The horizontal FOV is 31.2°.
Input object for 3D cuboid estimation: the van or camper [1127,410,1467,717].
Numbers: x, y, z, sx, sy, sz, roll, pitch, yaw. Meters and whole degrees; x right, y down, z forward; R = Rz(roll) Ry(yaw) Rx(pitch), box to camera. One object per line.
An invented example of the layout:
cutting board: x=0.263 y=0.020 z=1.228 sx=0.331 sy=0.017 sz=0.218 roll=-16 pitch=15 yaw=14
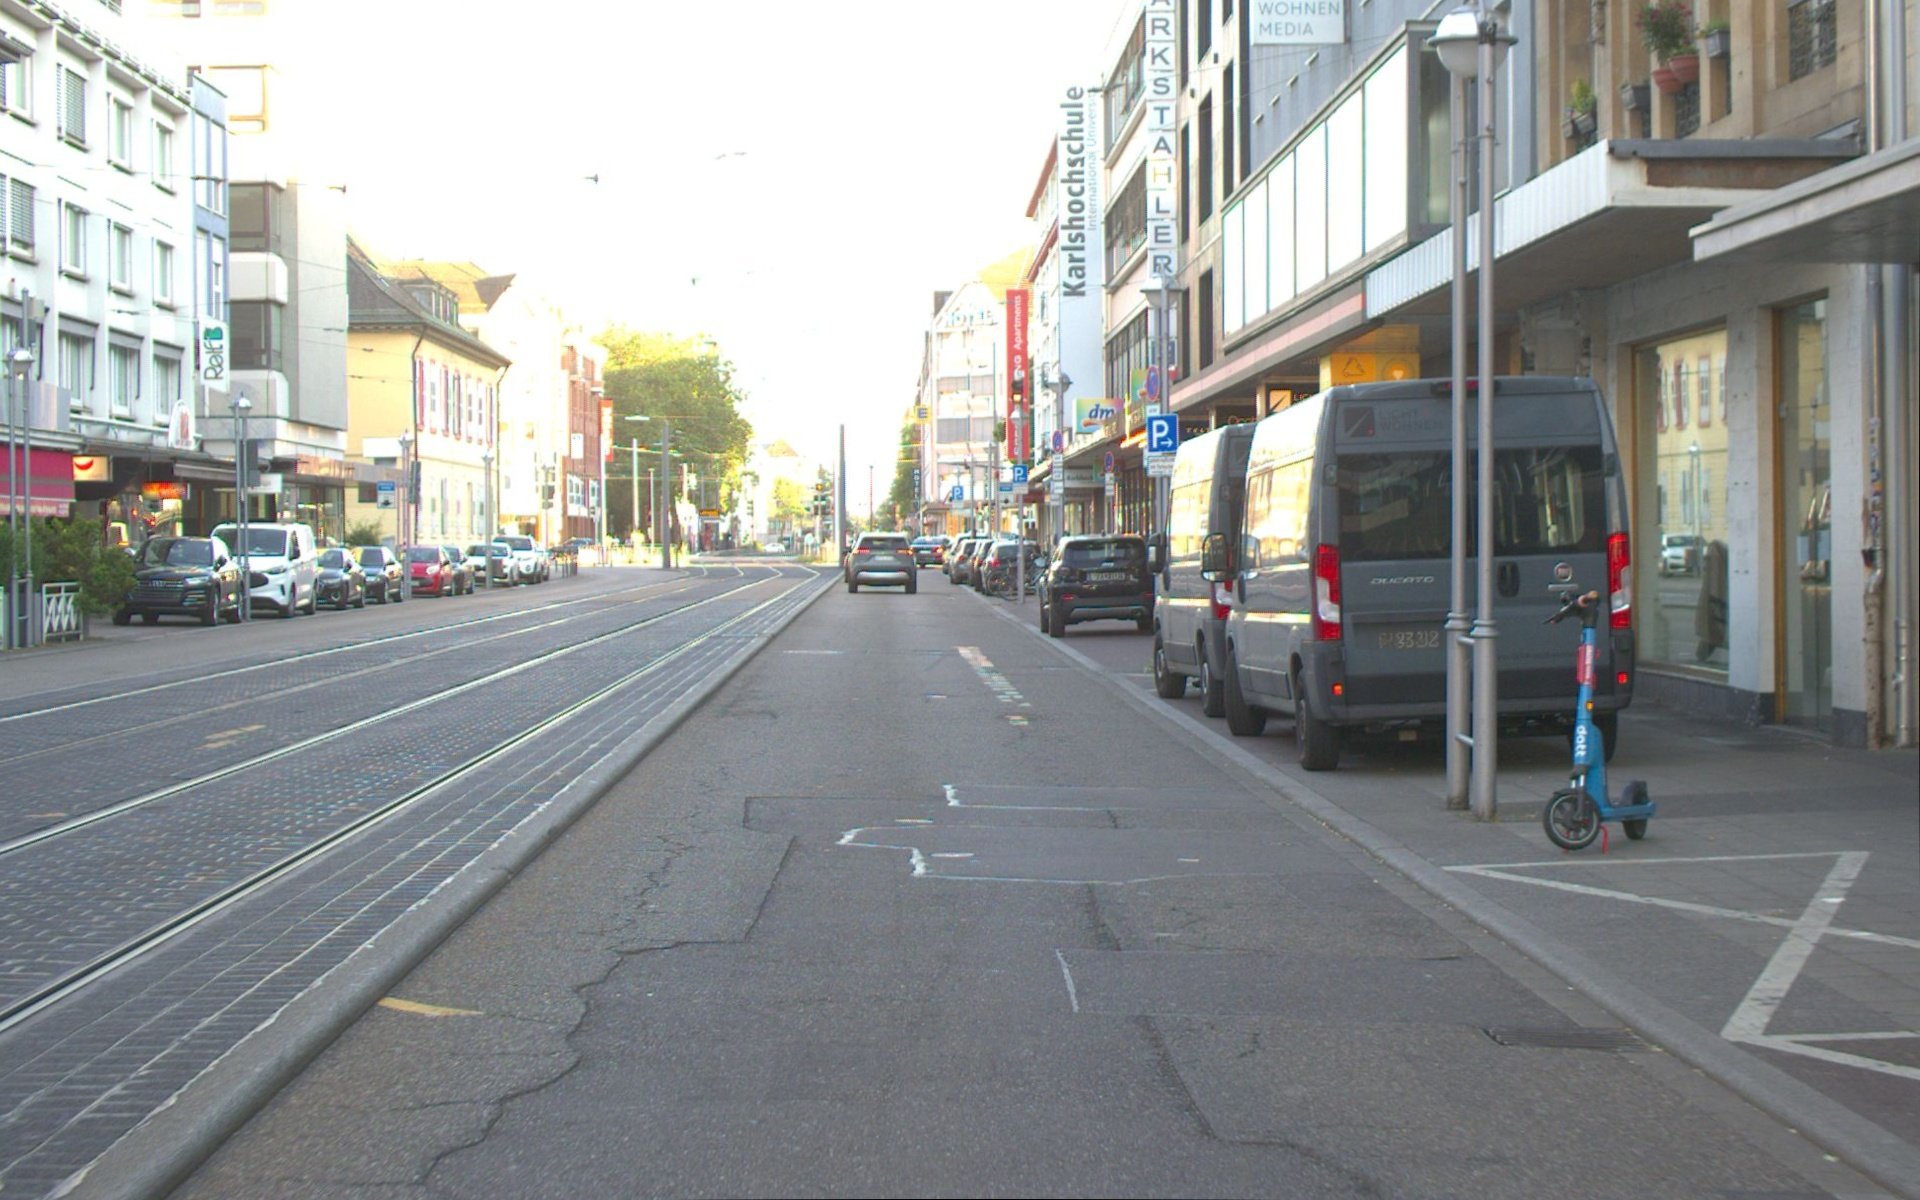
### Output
van or camper: x=2.892 y=-0.351 z=30.843 sx=2.188 sy=2.418 sz=5.518 roll=-2 pitch=1 yaw=-2

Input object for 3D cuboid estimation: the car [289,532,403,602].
car: x=-14.309 y=-0.787 z=80.295 sx=1.917 sy=1.516 sz=4.630 roll=2 pitch=1 yaw=-2

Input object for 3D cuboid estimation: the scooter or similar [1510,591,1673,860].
scooter or similar: x=3.066 y=0.589 z=16.649 sx=0.355 sy=1.220 sz=1.113 roll=-2 pitch=1 yaw=32

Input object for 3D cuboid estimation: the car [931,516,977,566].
car: x=-0.274 y=-2.617 z=151.613 sx=1.944 sy=2.138 sz=4.545 roll=-2 pitch=1 yaw=0

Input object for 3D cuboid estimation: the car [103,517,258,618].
car: x=-14.607 y=-0.629 z=64.645 sx=1.917 sy=1.757 sz=4.430 roll=2 pitch=1 yaw=-1

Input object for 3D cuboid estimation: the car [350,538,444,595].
car: x=-14.150 y=-0.859 z=86.594 sx=1.790 sy=1.334 sz=3.892 roll=2 pitch=1 yaw=-2

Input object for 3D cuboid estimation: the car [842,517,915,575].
car: x=-2.226 y=-1.510 z=95.087 sx=1.943 sy=1.539 sz=4.545 roll=1 pitch=1 yaw=0

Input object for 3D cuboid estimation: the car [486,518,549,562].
car: x=-15.575 y=-2.116 z=121.051 sx=1.790 sy=1.444 sz=3.892 roll=2 pitch=1 yaw=-2

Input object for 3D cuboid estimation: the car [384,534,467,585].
car: x=-14.961 y=-1.147 z=96.344 sx=1.790 sy=1.334 sz=3.892 roll=2 pitch=1 yaw=-2

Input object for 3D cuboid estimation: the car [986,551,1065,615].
car: x=1.714 y=-0.477 z=91.718 sx=1.944 sy=1.539 sz=4.545 roll=-2 pitch=1 yaw=0

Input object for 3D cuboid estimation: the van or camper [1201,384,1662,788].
van or camper: x=3.139 y=-0.144 z=24.370 sx=2.188 sy=2.418 sz=6.133 roll=-2 pitch=1 yaw=-1

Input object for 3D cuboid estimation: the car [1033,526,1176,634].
car: x=2.203 y=-0.342 z=53.445 sx=1.944 sy=1.539 sz=4.545 roll=-2 pitch=1 yaw=0

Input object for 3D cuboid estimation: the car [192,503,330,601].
car: x=-14.669 y=-1.019 z=72.341 sx=1.917 sy=1.929 sz=4.842 roll=2 pitch=1 yaw=-1

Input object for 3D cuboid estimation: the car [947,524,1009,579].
car: x=0.571 y=-1.620 z=113.133 sx=1.944 sy=1.697 sz=4.545 roll=-2 pitch=1 yaw=0

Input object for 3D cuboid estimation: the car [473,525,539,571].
car: x=-15.170 y=-1.737 z=115.021 sx=1.790 sy=1.444 sz=3.892 roll=2 pitch=1 yaw=-2

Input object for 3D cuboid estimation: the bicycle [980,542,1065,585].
bicycle: x=1.590 y=-0.934 z=87.932 sx=2.118 sy=1.086 sz=0.592 roll=0 pitch=1 yaw=-3

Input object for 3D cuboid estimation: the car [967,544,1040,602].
car: x=1.214 y=-0.795 z=98.242 sx=1.944 sy=1.539 sz=4.545 roll=-2 pitch=1 yaw=0
